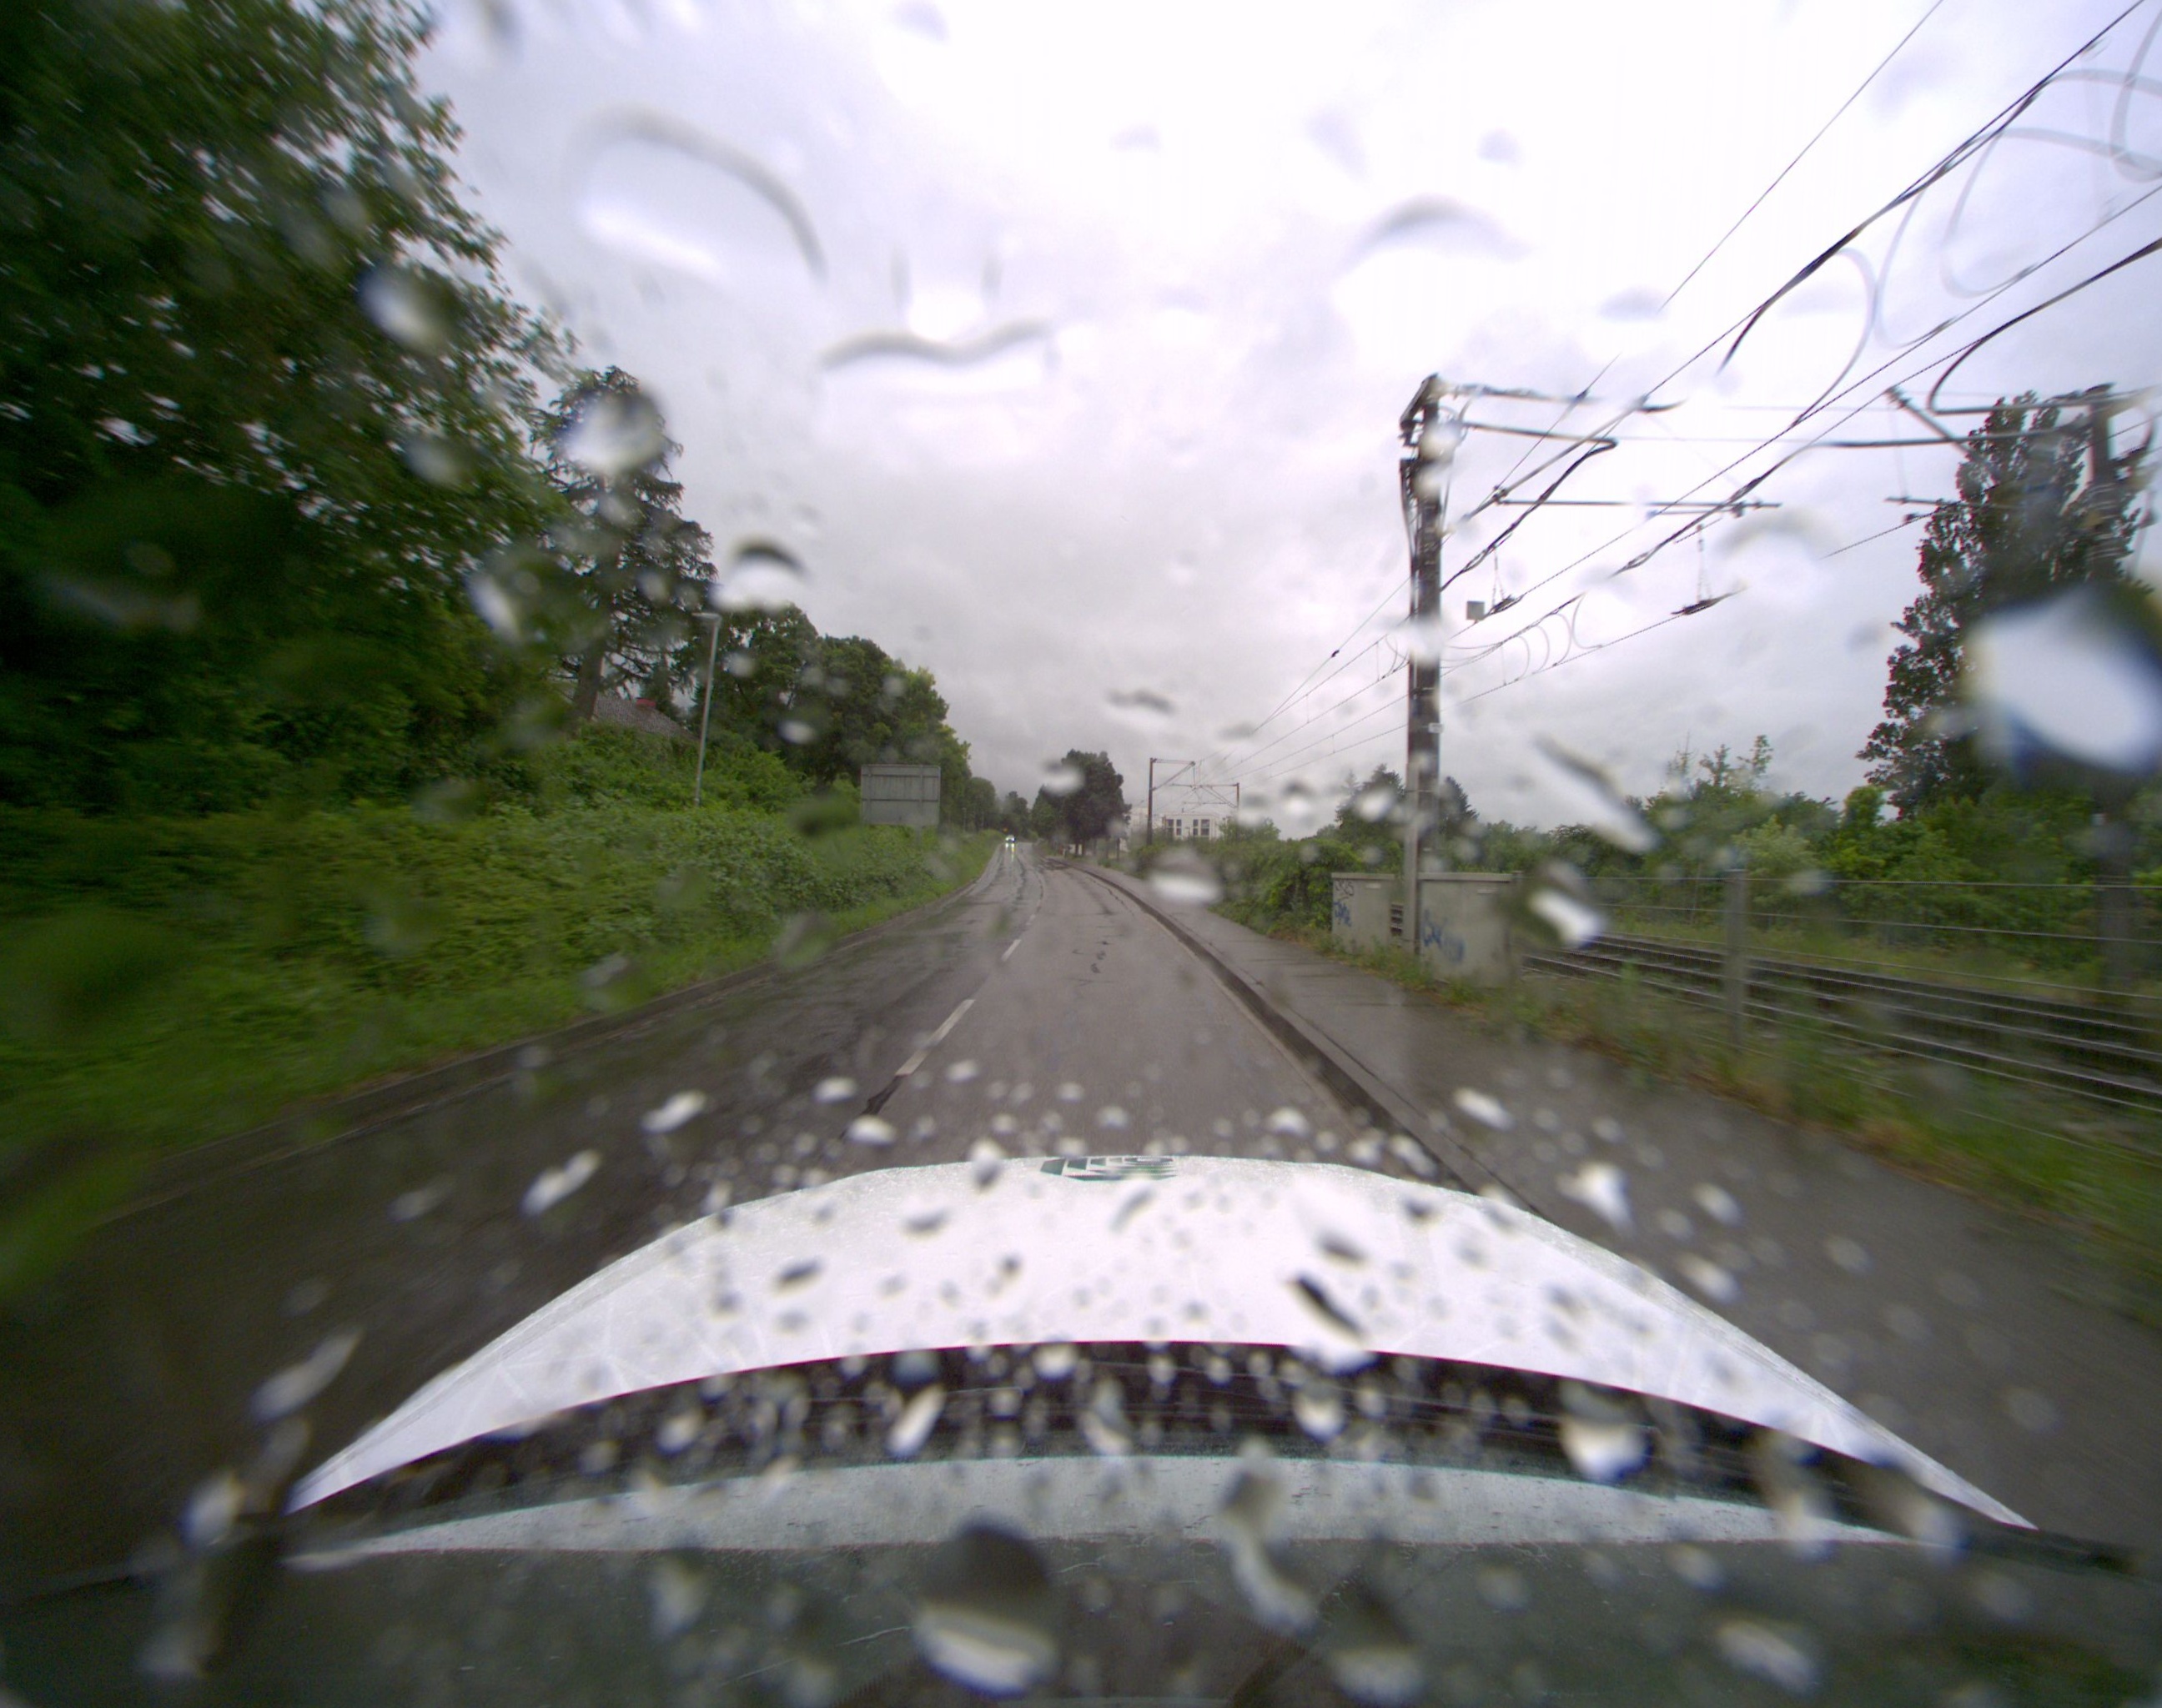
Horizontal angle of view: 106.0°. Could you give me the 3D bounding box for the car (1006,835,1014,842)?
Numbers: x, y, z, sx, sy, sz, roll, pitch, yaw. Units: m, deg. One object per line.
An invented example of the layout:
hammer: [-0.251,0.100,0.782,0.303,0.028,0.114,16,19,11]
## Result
car: [-16.166,-3.511,184.904,1.741,1.611,4.083,2,1,-4]
